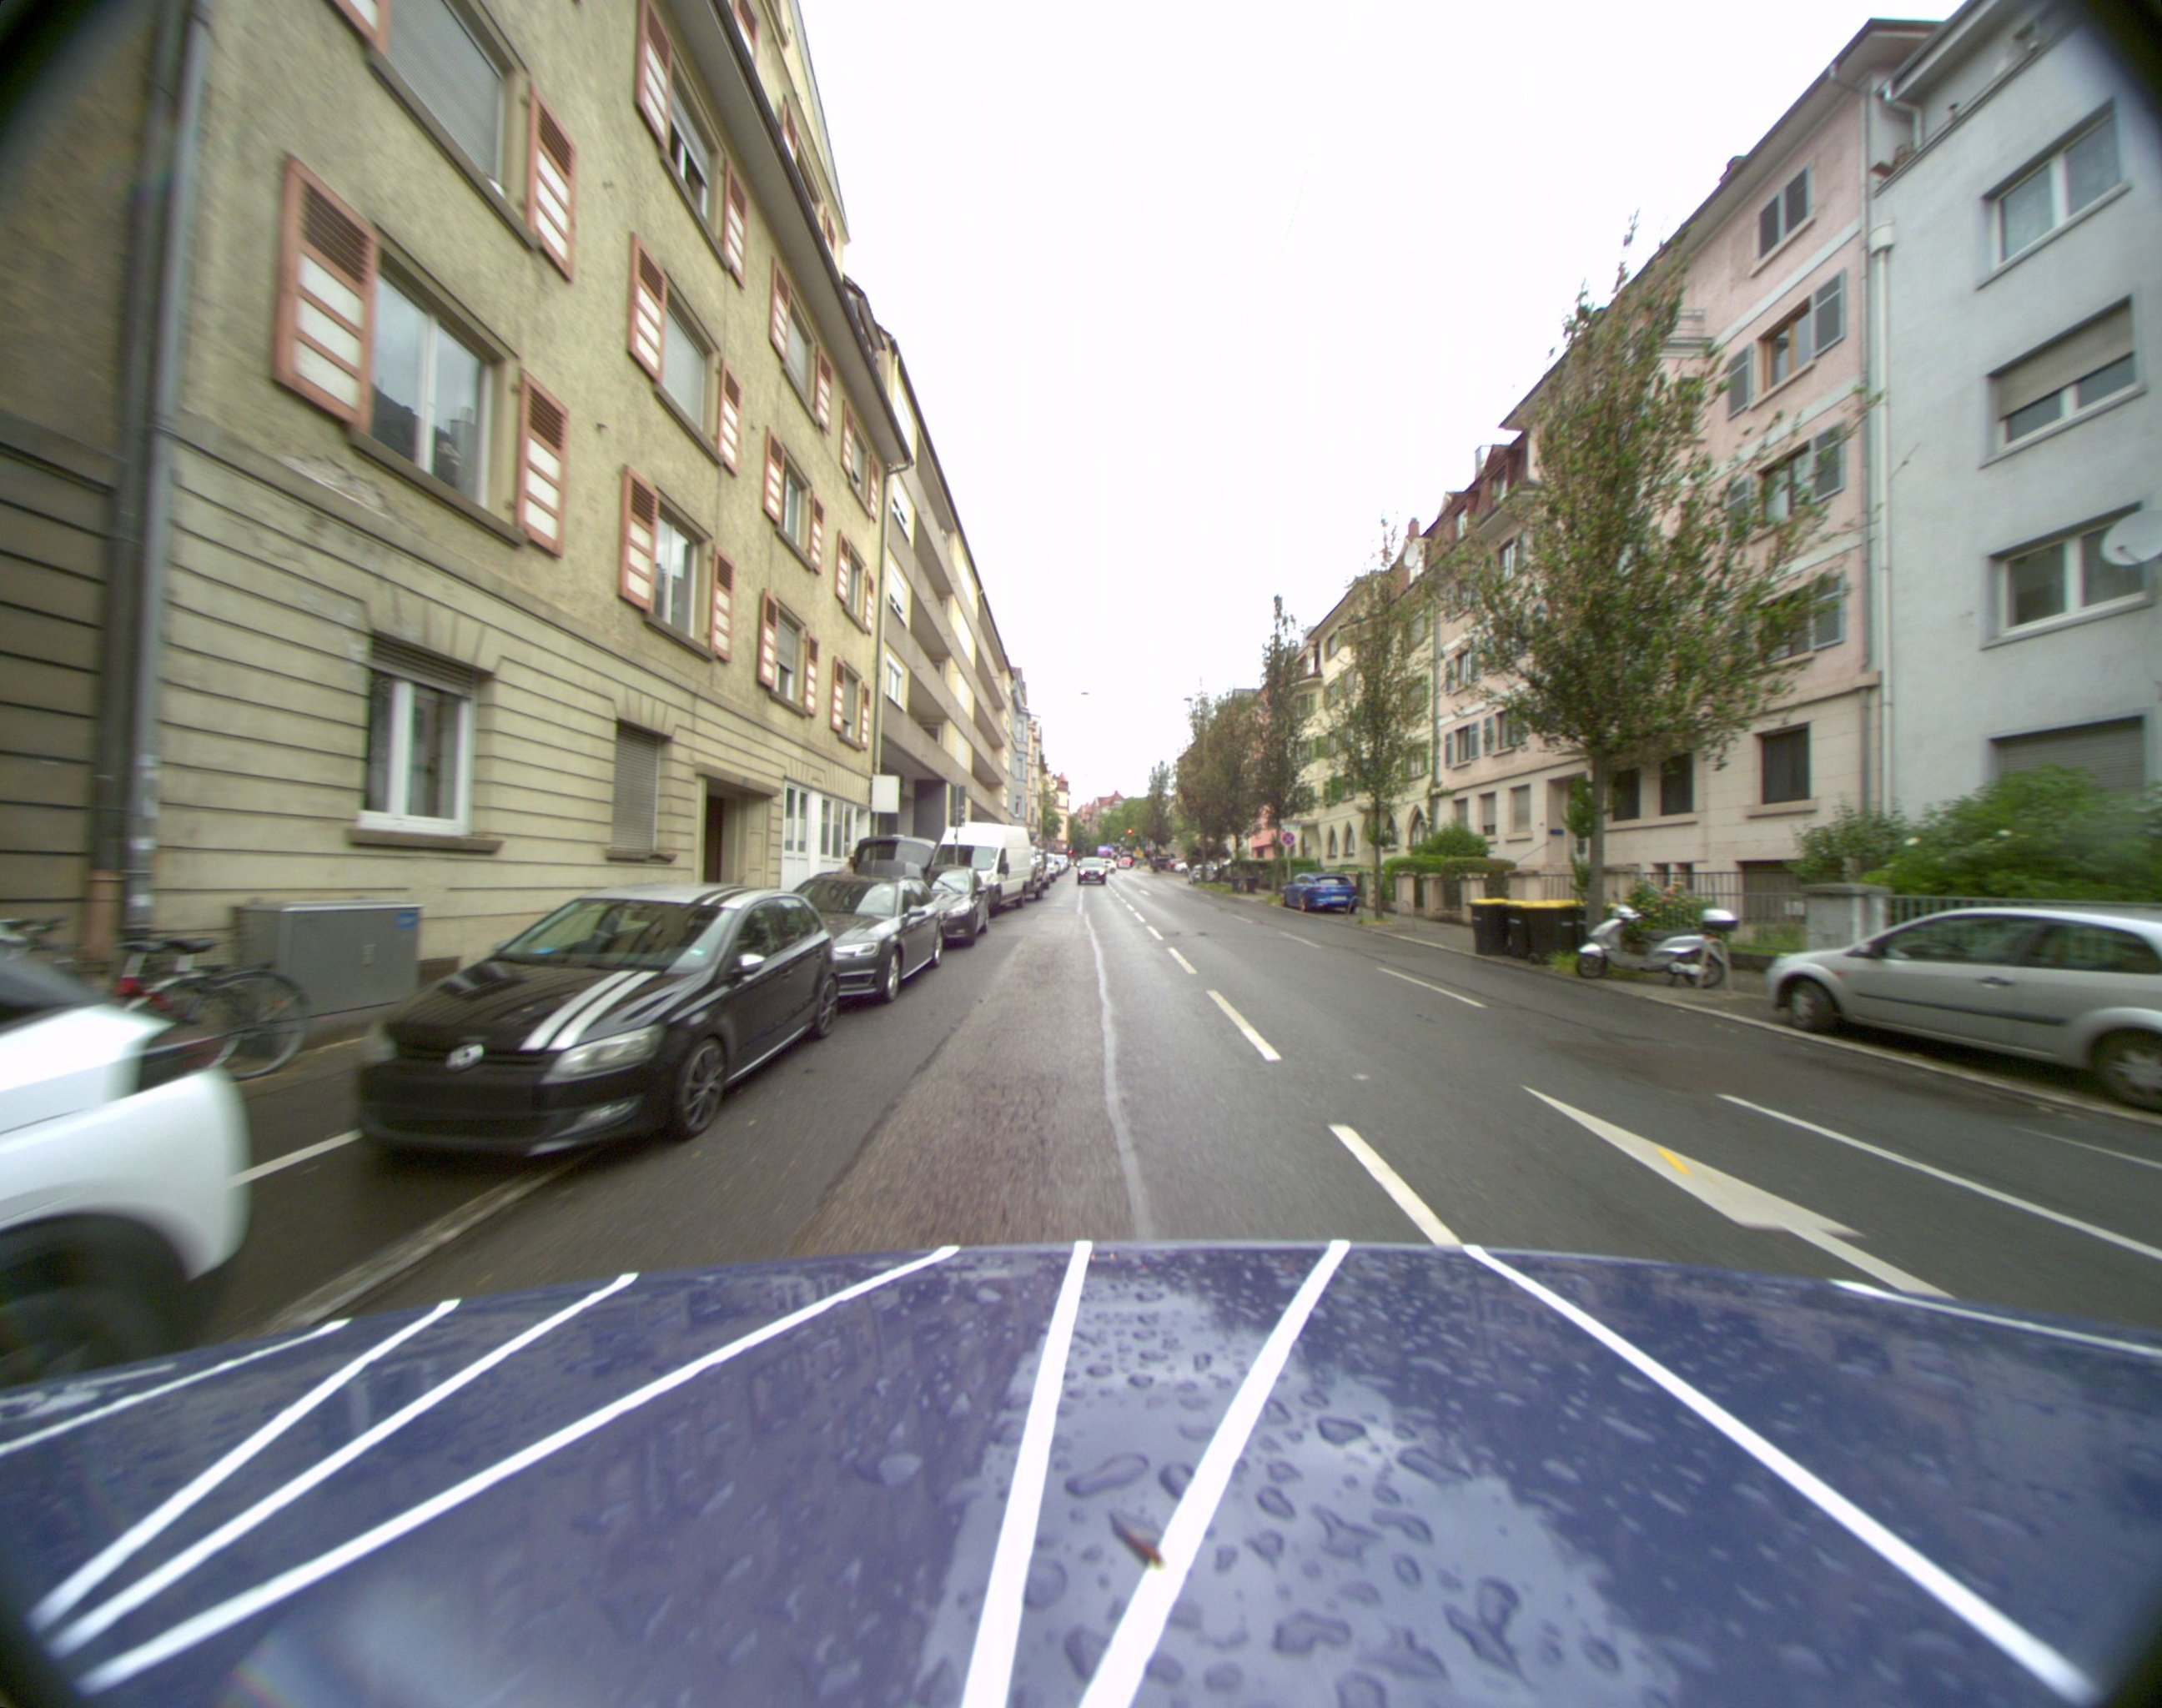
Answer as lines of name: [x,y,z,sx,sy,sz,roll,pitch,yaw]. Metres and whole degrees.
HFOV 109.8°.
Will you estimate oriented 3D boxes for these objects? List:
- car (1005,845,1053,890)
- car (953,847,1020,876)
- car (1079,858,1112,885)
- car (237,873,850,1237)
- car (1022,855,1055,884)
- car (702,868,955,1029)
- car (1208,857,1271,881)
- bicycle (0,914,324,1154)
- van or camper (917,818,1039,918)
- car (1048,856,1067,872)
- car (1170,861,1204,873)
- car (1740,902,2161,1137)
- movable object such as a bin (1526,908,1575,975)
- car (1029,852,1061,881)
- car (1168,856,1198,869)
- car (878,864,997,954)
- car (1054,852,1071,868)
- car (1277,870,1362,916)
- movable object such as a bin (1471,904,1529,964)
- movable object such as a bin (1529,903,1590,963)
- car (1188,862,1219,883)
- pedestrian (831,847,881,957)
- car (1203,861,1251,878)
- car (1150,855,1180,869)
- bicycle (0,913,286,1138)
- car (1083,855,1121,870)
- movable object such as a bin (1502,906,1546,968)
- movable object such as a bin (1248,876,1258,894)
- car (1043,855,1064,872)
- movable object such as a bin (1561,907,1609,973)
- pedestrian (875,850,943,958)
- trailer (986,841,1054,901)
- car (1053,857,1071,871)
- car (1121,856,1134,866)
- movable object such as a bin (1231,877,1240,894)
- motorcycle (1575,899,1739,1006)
car: [-2.668,0.668,40.370,2.159,2.136,5.509,2,0,0]
car: [-7.037,0.544,56.635,4.454,2.001,2.003,1,-1,19]
car: [0.869,1.069,48.313,1.890,1.543,3.999,-2,1,-1]
car: [-3.025,0.976,5.349,1.636,1.470,3.734,4,0,-1]
car: [-2.604,0.943,47.122,1.751,1.630,4.273,2,0,0]
car: [-2.962,1.006,10.044,1.782,1.471,4.587,1,1,0]
car: [12.958,1.175,62.144,4.731,1.893,1.918,0,1,-2]
bicycle: [-5.635,0.991,4.449,0.248,1.067,2.106,3,1,1]
van or camper: [-3.025,0.398,24.071,2.188,2.683,6.423,2,0,7]
car: [-2.296,0.971,75.608,1.709,1.434,3.933,2,0,1]
car: [12.962,1.564,92.995,3.928,1.289,1.646,2,1,1]
car: [8.386,1.280,6.769,1.605,1.388,3.886,1,1,0]
movable object such as a bin: [8.086,1.494,13.092,0.526,1.052,0.482,-2,1,-21]
car: [-2.544,0.842,54.880,1.994,1.944,4.822,2,0,0]
car: [13.855,1.212,103.196,3.928,1.613,1.592,2,1,1]
car: [-2.754,0.998,15.465,1.782,1.471,4.188,1,1,-3]
car: [-2.214,0.675,93.212,1.826,1.808,4.520,2,0,1]
car: [8.602,1.358,27.811,1.683,1.378,4.602,1,1,0]
movable object such as a bin: [7.945,1.510,14.422,0.827,1.052,0.483,-2,1,1]
movable object such as a bin: [8.884,1.457,14.116,0.827,1.052,0.483,-1,1,1]
car: [9.060,1.360,56.523,1.685,1.409,4.137,2,0,1]
pedestrian: [-3.804,0.791,12.810,0.687,1.777,0.712,2,2,-20]
car: [13.541,1.461,70.558,3.931,1.389,1.724,2,1,-6]
car: [11.729,1.101,106.176,3.930,1.836,1.867,2,1,-2]
bicycle: [-5.885,0.980,4.425,0.248,1.067,2.106,3,1,1]
car: [2.167,0.912,78.789,3.658,1.464,1.666,-1,1,-28]
movable object such as a bin: [8.072,1.498,13.852,0.472,1.052,0.483,-2,1,-9]
movable object such as a bin: [9.149,1.647,40.445,0.365,0.906,0.572,-1,1,0]
car: [-2.488,0.878,69.637,1.731,1.434,4.358,2,0,1]
movable object such as a bin: [8.719,1.477,13.159,0.472,1.052,0.483,-2,1,-9]
pedestrian: [-2.852,0.820,12.617,0.630,1.681,0.637,9,2,35]
trailer: [-2.345,0.666,30.726,1.998,2.139,5.074,3,-1,3]
car: [-2.042,1.080,82.228,1.709,1.388,3.933,-2,0,1]
car: [7.068,1.034,115.863,1.772,1.540,3.652,0,1,0]
movable object such as a bin: [8.202,1.666,40.404,0.365,0.884,0.572,-1,0,0]
motorcycle: [8.269,1.361,10.958,1.806,1.307,0.743,1,0,42]
